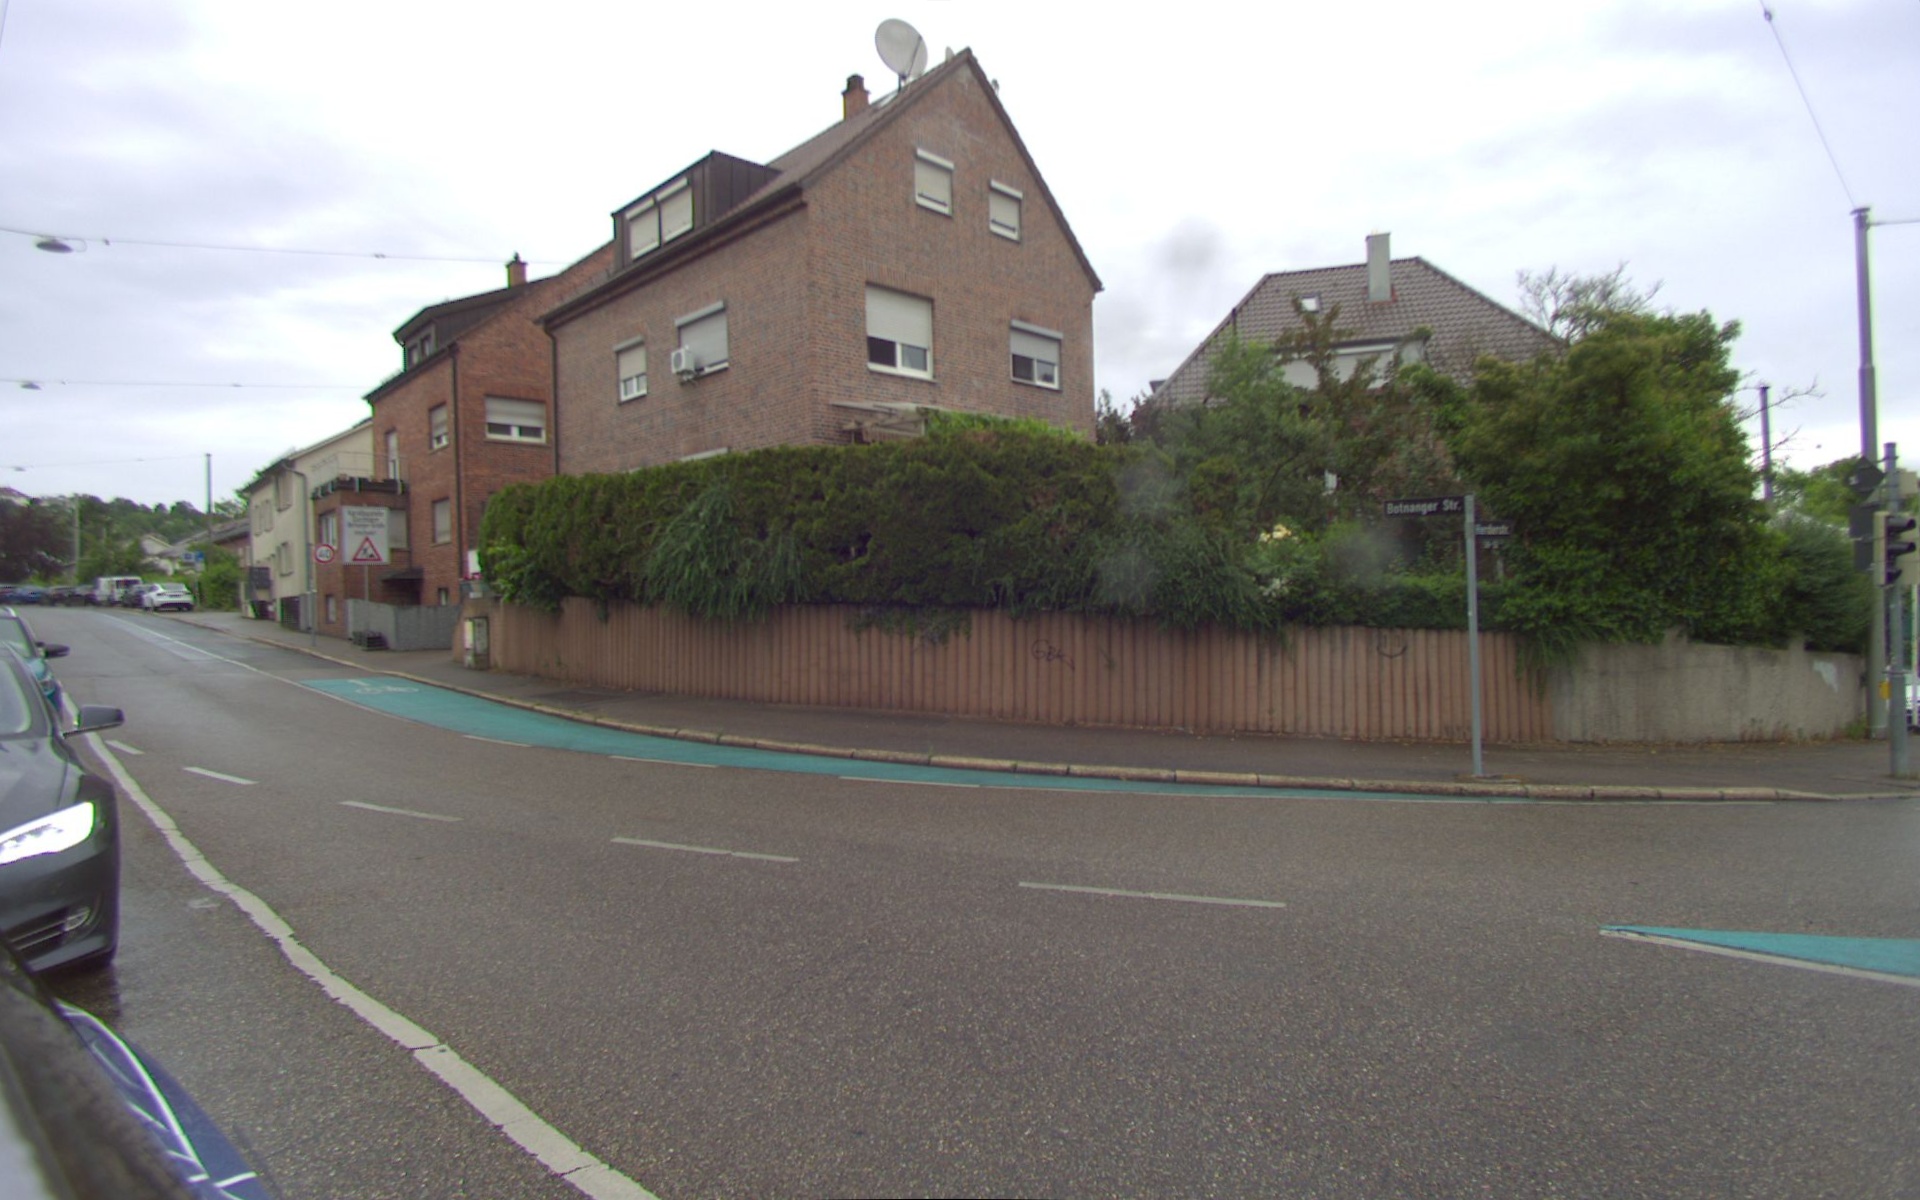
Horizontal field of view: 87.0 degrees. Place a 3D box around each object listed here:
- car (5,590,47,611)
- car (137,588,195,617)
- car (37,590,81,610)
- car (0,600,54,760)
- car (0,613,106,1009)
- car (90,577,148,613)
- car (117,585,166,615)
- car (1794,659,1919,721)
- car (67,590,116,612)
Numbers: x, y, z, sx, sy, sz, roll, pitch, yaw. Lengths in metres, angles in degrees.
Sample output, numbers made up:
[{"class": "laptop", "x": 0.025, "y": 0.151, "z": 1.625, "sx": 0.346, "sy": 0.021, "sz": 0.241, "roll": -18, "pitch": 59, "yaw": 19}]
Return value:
[{"class": "car", "x": -71.255, "y": 0.063, "z": 77.203, "sx": 3.895, "sy": 1.501, "sz": 1.605, "roll": -1, "pitch": 2, "yaw": 36}, {"class": "car", "x": -46.422, "y": 0.159, "z": 59.134, "sx": 4.262, "sy": 1.577, "sz": 1.921, "roll": 0, "pitch": 2, "yaw": 42}, {"class": "car", "x": -66.568, "y": 0.024, "z": 74.718, "sx": 3.854, "sy": 1.407, "sz": 1.635, "roll": -1, "pitch": 2, "yaw": 36}, {"class": "car", "x": -11.318, "y": 0.808, "z": 11.160, "sx": 3.785, "sy": 1.601, "sz": 1.765, "roll": 0, "pitch": 0, "yaw": 45}, {"class": "car", "x": -5.398, "y": 0.798, "z": 4.705, "sx": 4.002, "sy": 1.426, "sz": 1.845, "roll": 0, "pitch": 0, "yaw": 45}, {"class": "car", "x": -57.017, "y": -0.323, "z": 68.585, "sx": 4.544, "sy": 2.303, "sz": 2.229, "roll": 0, "pitch": 2, "yaw": 41}, {"class": "car", "x": -52.371, "y": -0.013, "z": 64.727, "sx": 4.262, "sy": 1.817, "sz": 1.791, "roll": 0, "pitch": 2, "yaw": 42}, {"class": "car", "x": 26.769, "y": 2.566, "z": 29.534, "sx": 1.837, "sy": 1.644, "sz": 4.297, "roll": -2, "pitch": -3, "yaw": 11}, {"class": "car", "x": -61.473, "y": 0.083, "z": 71.601, "sx": 4.002, "sy": 1.501, "sz": 1.636, "roll": -1, "pitch": 2, "yaw": 34}]
